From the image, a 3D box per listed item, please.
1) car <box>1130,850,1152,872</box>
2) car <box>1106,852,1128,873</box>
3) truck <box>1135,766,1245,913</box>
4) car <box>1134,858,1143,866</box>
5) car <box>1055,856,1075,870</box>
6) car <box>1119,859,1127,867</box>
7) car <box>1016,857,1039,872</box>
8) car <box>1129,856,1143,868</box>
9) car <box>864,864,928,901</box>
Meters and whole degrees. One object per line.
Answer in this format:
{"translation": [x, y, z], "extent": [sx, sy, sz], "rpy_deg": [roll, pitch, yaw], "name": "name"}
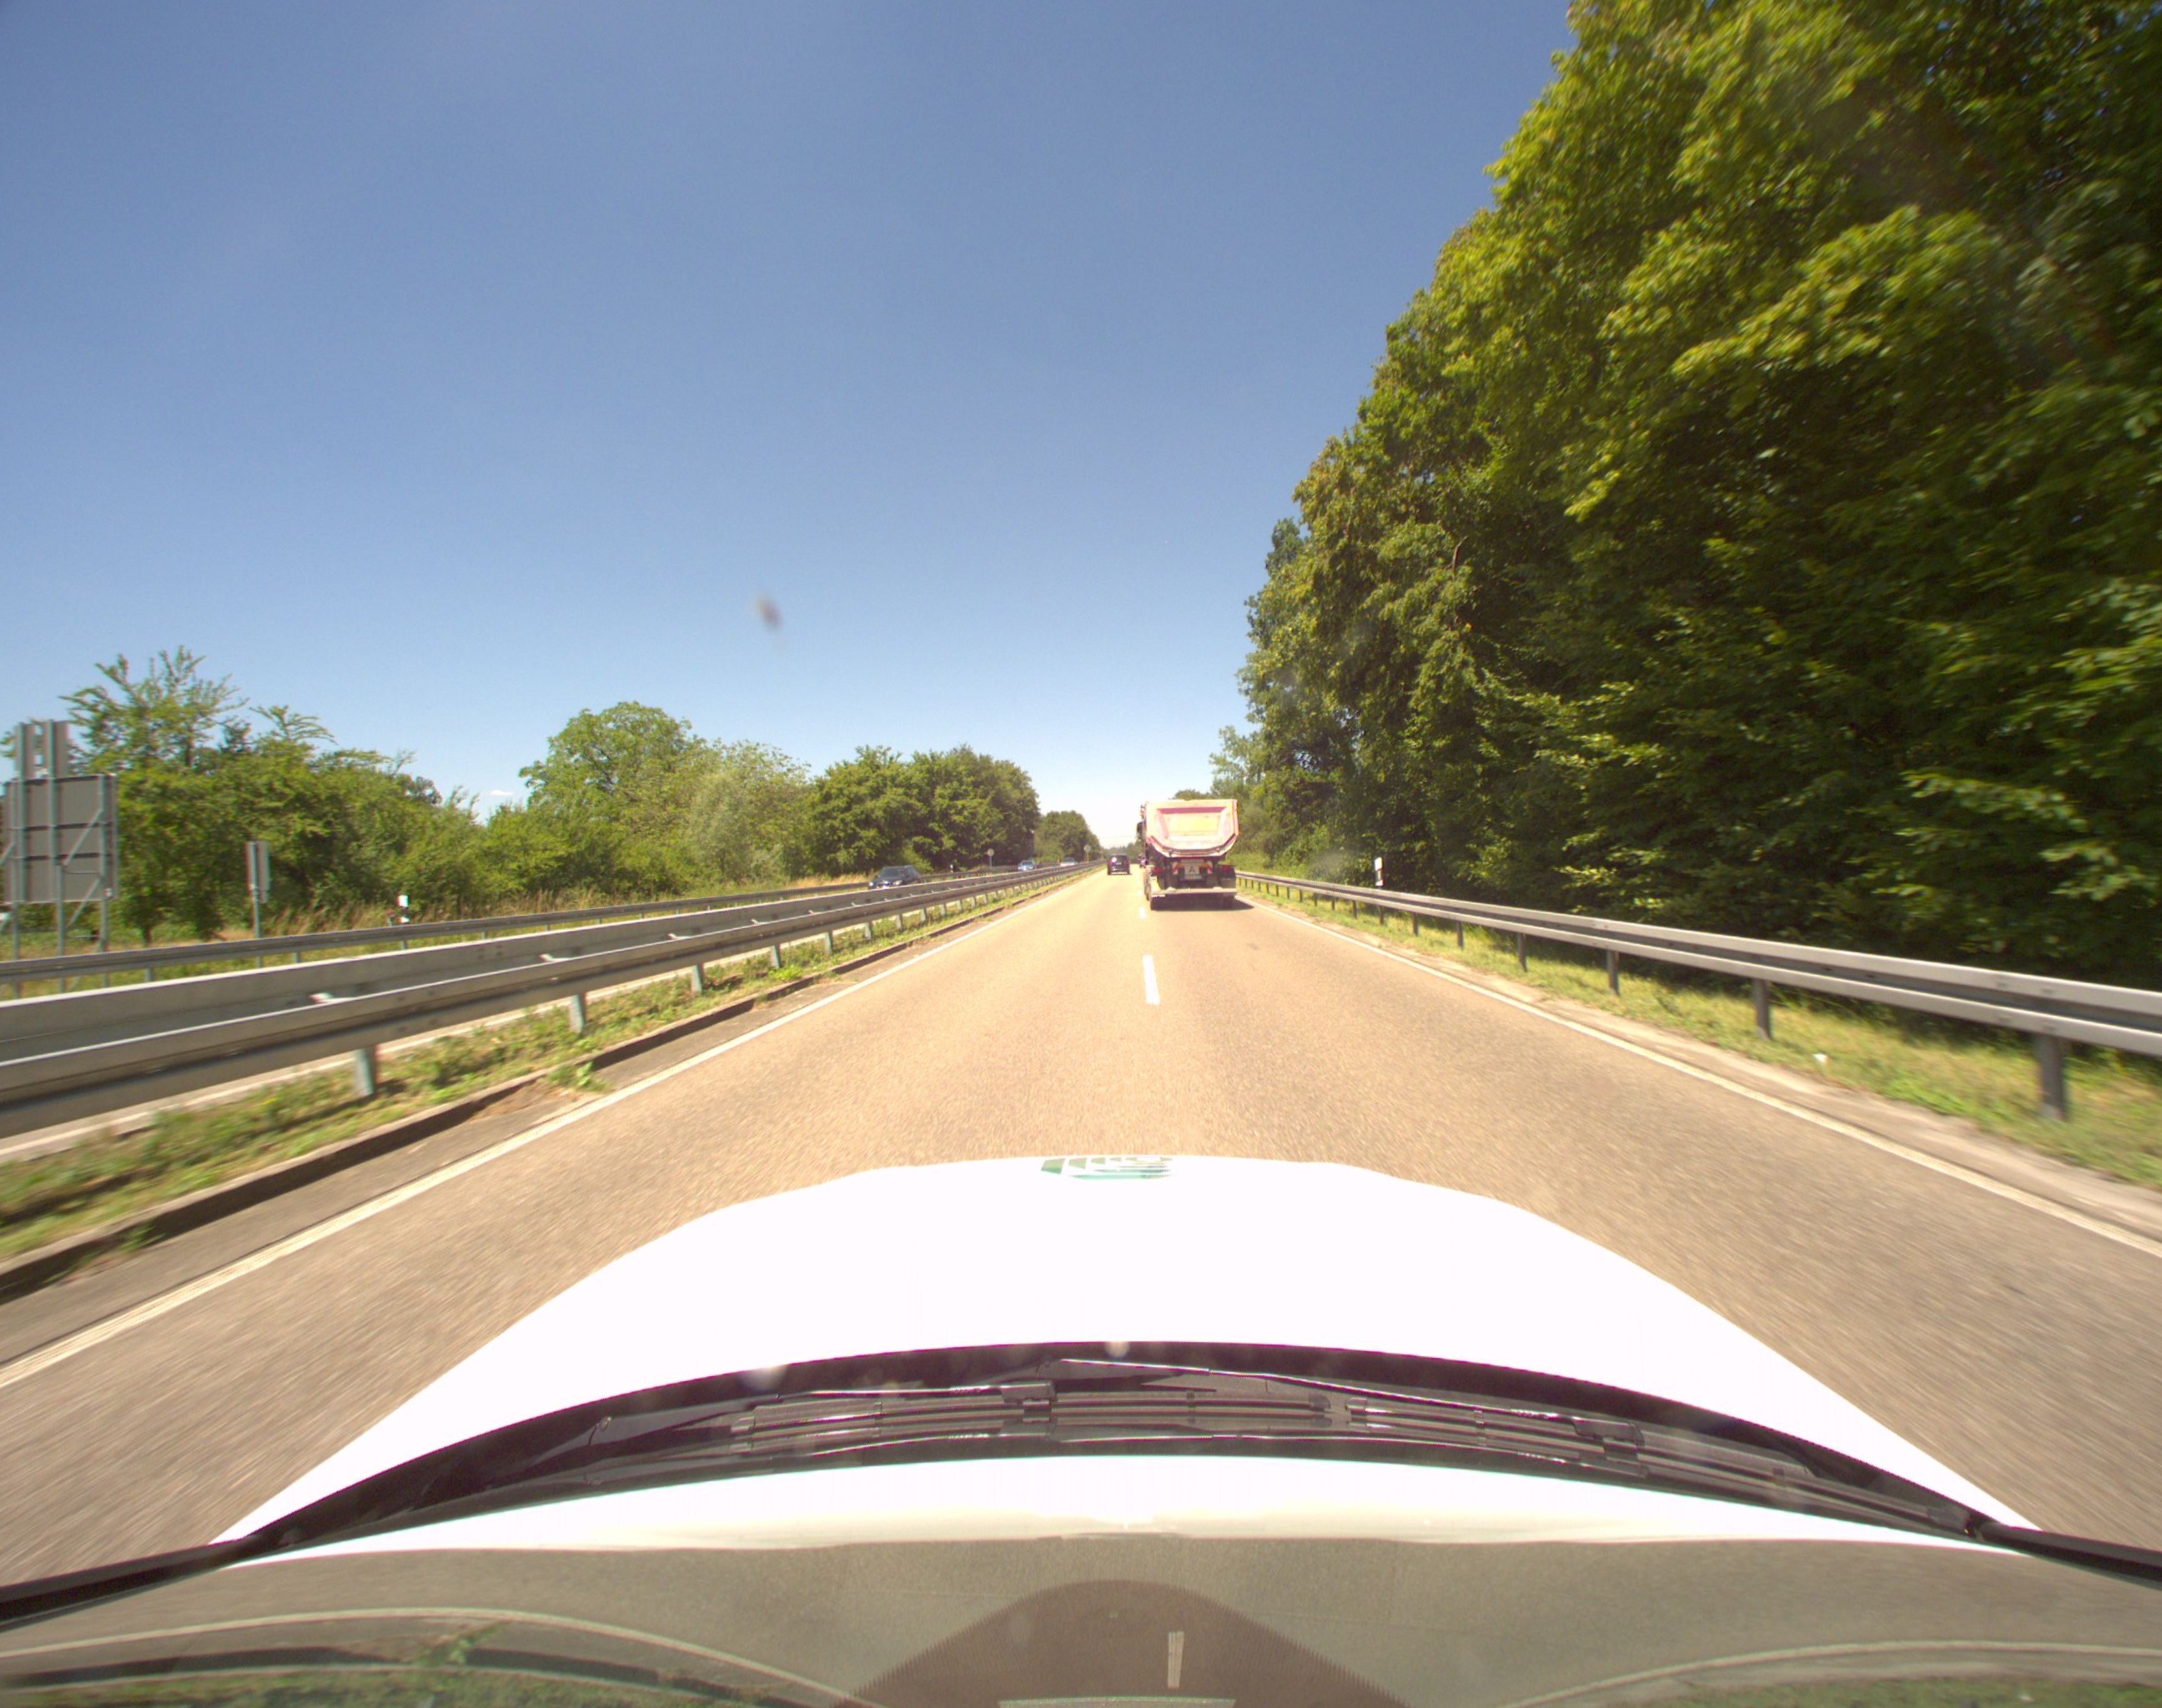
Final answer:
{"translation": [6.059, 0.686, 82.525], "extent": [1.986, 2.077, 4.002], "rpy_deg": [-3, 0, 2], "name": "car"}
{"translation": [3.087, 0.739, 69.482], "extent": [1.850, 1.671, 4.002], "rpy_deg": [-1, -2, 3], "name": "car"}
{"translation": [3.361, -0.387, 28.249], "extent": [2.709, 3.930, 12.379], "rpy_deg": [-1, 0, 3], "name": "truck"}
{"translation": [11.087, 1.545, 157.375], "extent": [1.597, 1.420, 3.523], "rpy_deg": [-3, 0, 1], "name": "car"}
{"translation": [-2.042, 1.159, 104.612], "extent": [1.984, 1.632, 4.560], "rpy_deg": [-3, 0, 6], "name": "car"}
{"translation": [9.304, 1.918, 180.071], "extent": [1.850, 1.718, 4.002], "rpy_deg": [-1, -2, 3], "name": "car"}
{"translation": [-5.950, 1.156, 91.162], "extent": [1.804, 1.543, 4.933], "rpy_deg": [-3, 0, 4], "name": "car"}
{"translation": [7.025, 1.017, 104.012], "extent": [1.597, 1.420, 3.523], "rpy_deg": [-3, 0, 1], "name": "car"}
{"translation": [-9.159, 1.367, 40.761], "extent": [1.771, 1.620, 4.511], "rpy_deg": [-4, -1, 4], "name": "car"}
